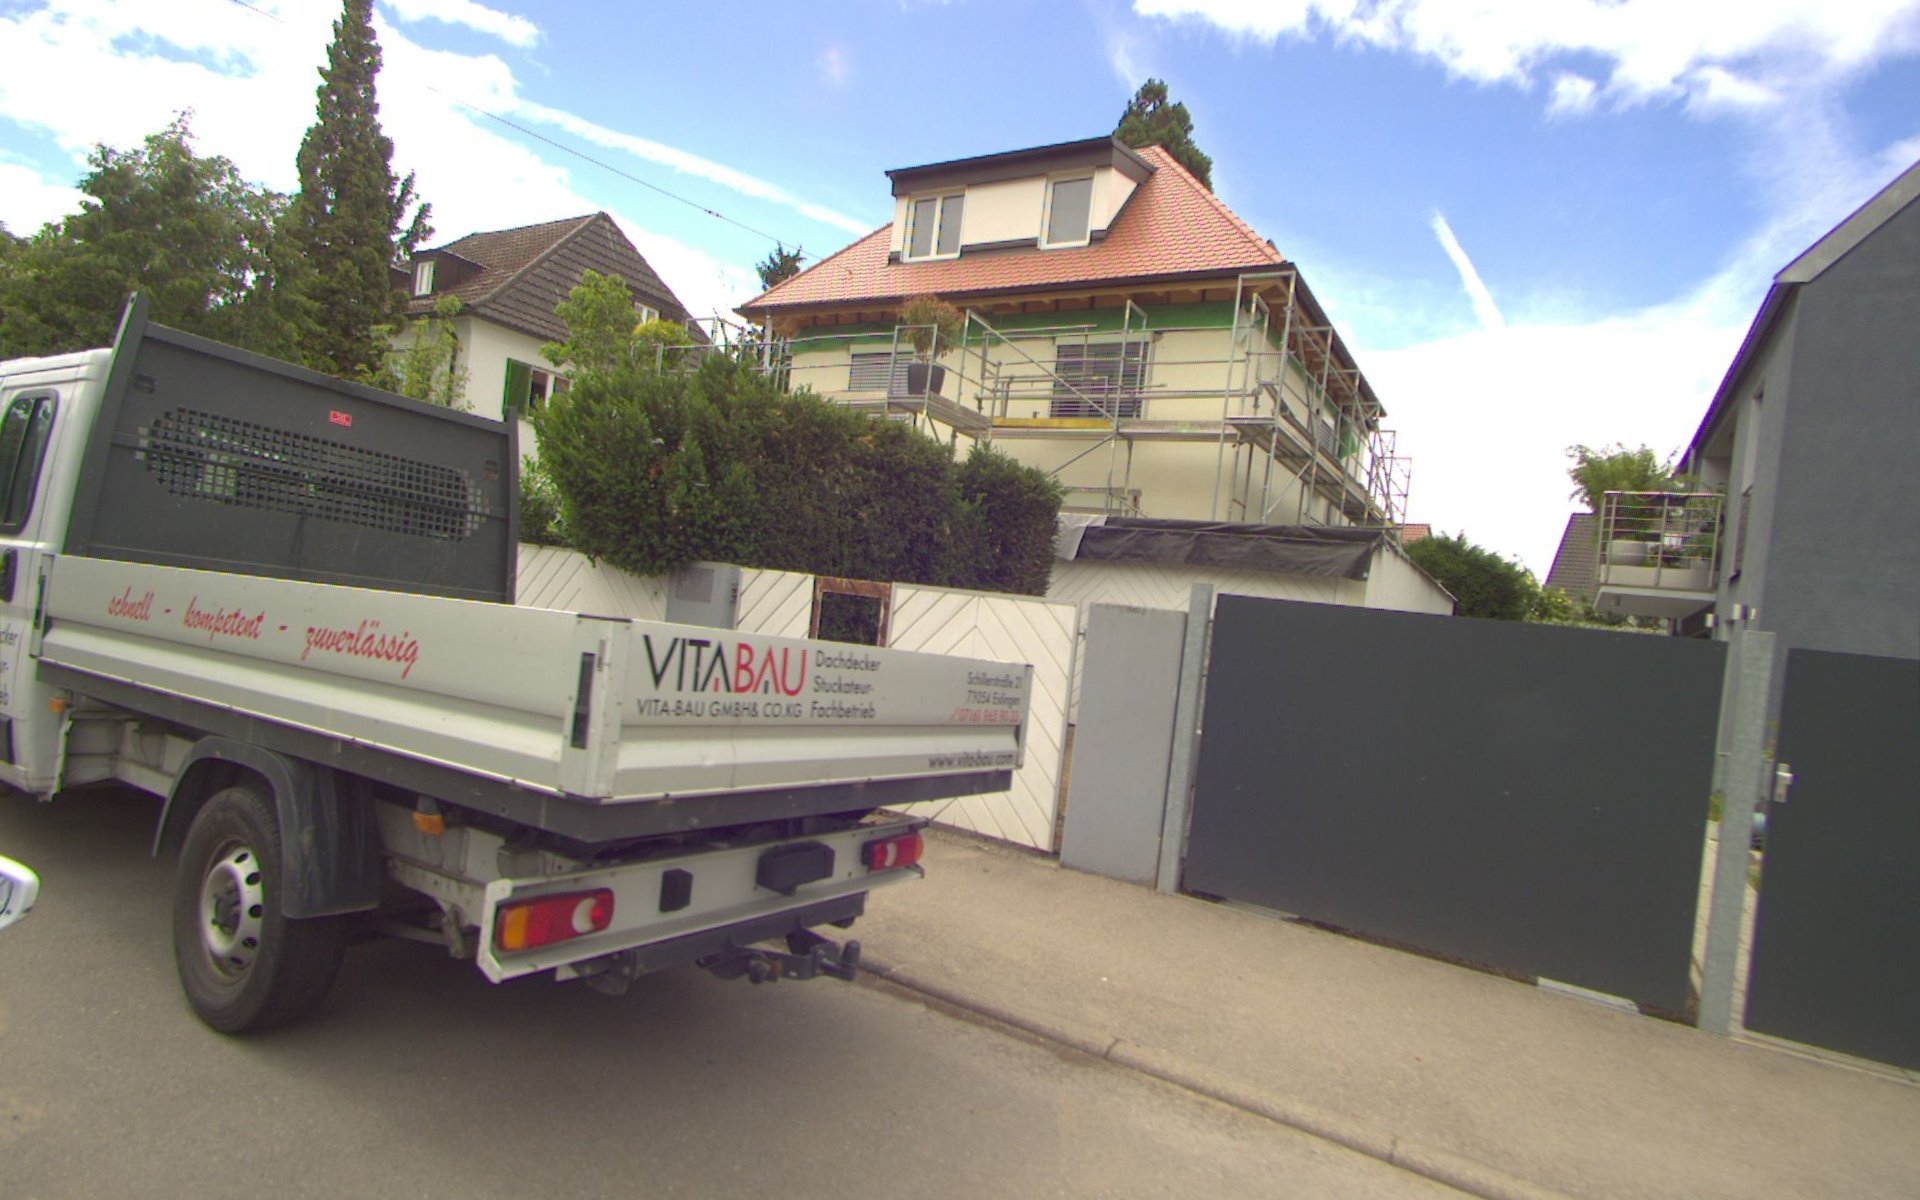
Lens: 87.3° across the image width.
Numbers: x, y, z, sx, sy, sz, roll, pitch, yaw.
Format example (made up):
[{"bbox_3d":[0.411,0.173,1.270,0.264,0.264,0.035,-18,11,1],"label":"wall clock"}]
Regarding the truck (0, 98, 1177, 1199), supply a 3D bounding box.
[{"bbox_3d":[-2.980,0.054,4.750,7.307,2.501,2.191,6,-1,32],"label":"truck"}]
